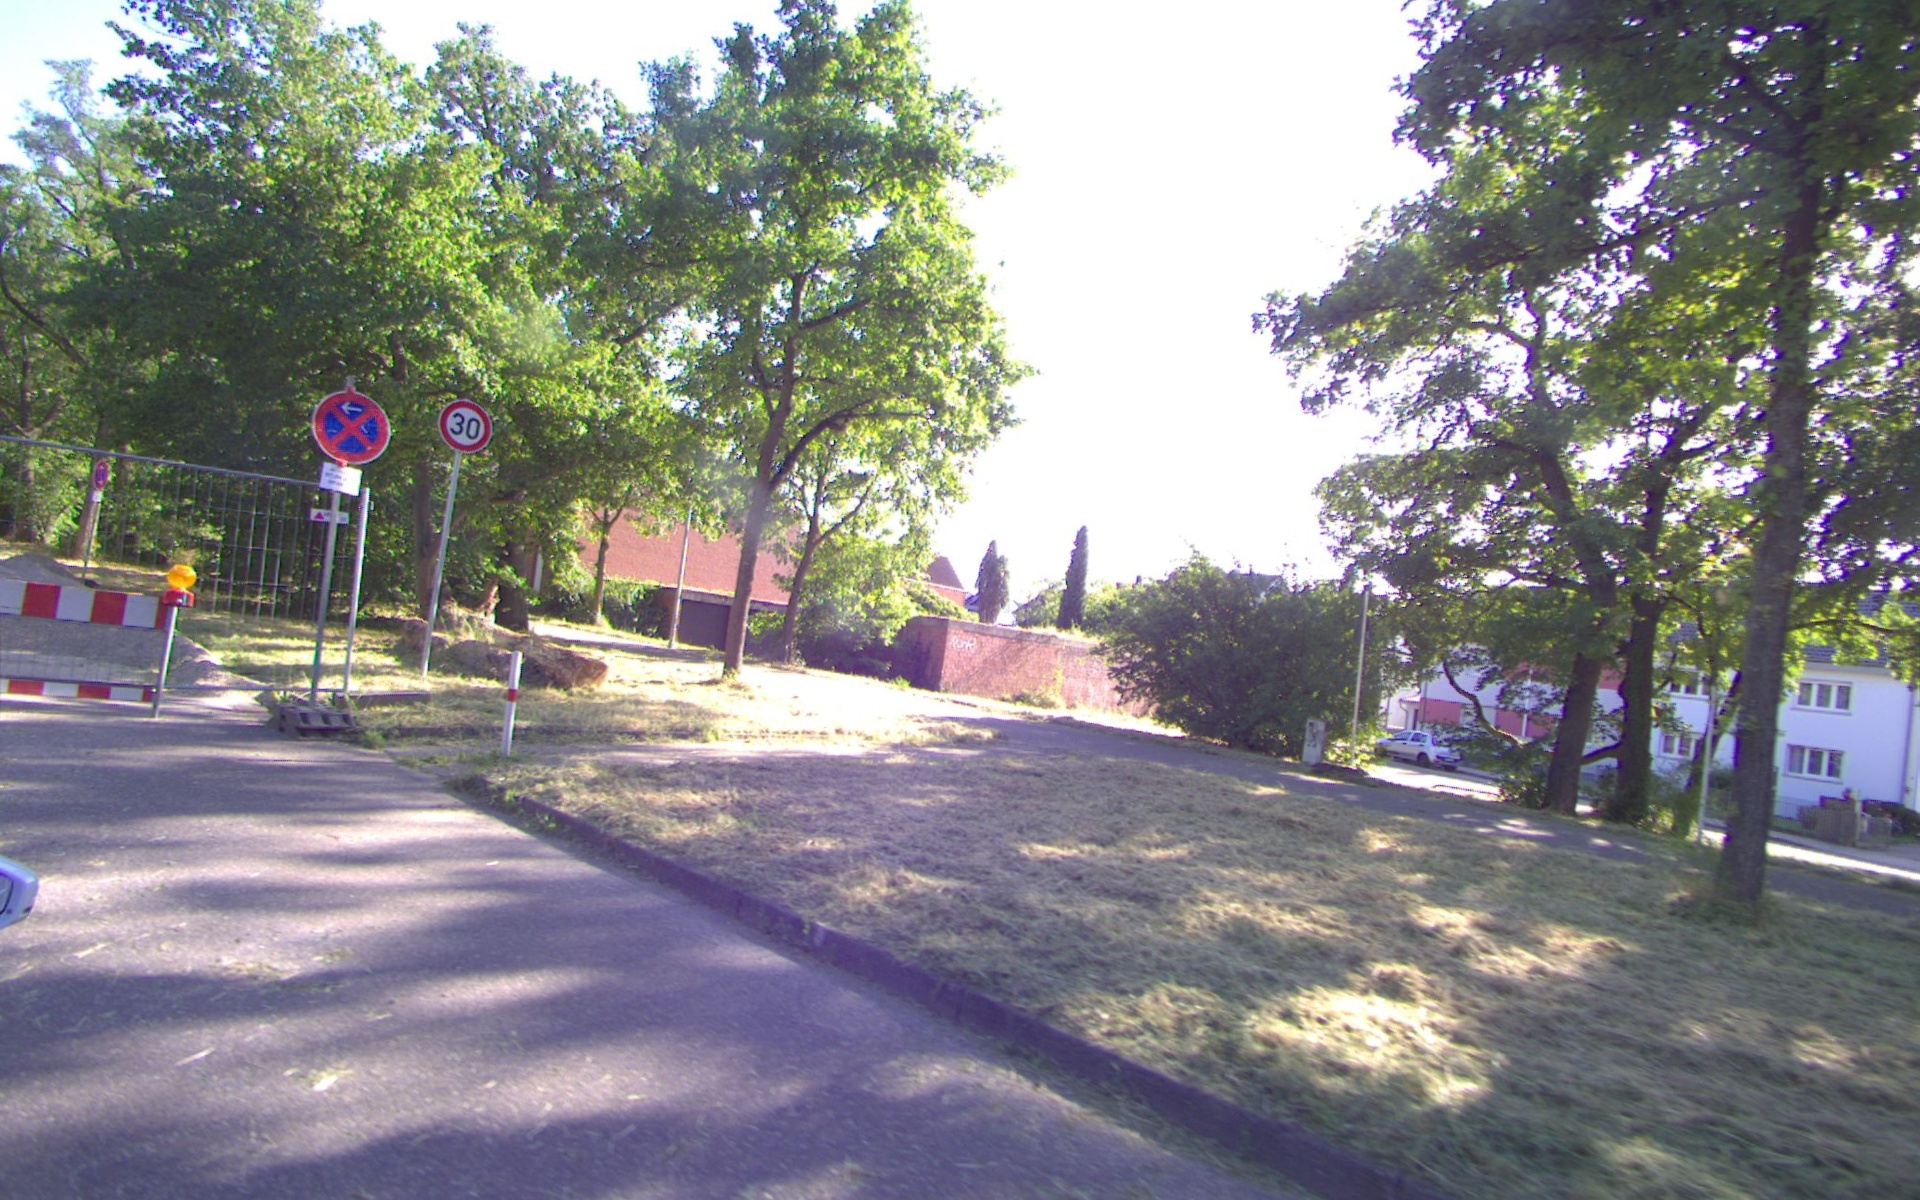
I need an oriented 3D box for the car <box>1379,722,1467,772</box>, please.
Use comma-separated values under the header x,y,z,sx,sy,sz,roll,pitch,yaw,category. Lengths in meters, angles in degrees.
x,y,z,sx,sy,sz,roll,pitch,yaw,category
19.950,6.303,43.465,1.510,1.569,3.169,9,-3,-22,car
